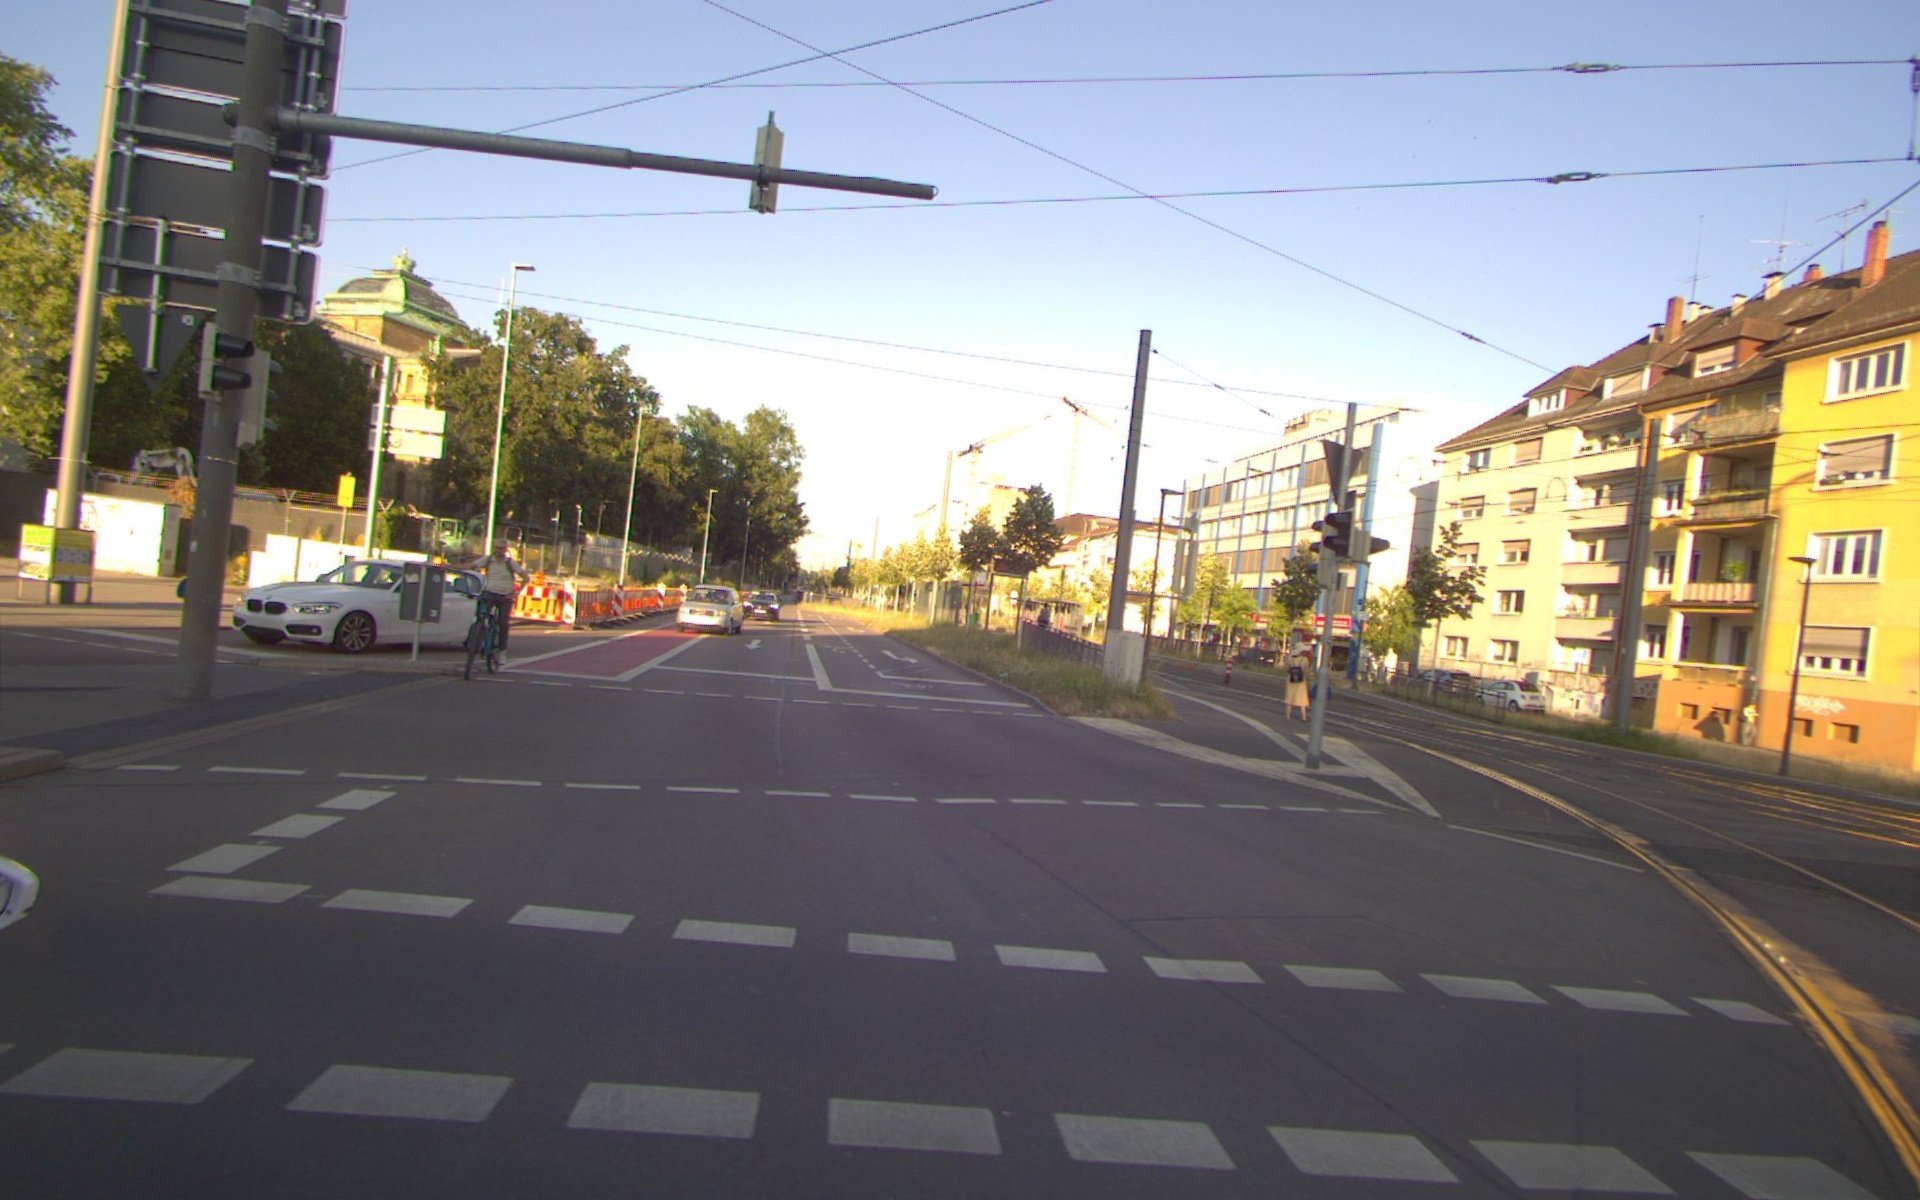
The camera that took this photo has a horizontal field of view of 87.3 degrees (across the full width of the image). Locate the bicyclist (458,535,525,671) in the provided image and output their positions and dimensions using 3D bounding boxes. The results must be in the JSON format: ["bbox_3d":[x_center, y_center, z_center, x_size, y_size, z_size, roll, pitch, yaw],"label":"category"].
[{"bbox_3d":[-6.180,0.036,13.300,0.587,1.692,0.745,6,0,-19],"label":"bicyclist"}]

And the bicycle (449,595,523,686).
[{"bbox_3d":[-6.198,0.499,13.218,0.588,1.035,1.840,6,0,-19],"label":"bicycle"}]

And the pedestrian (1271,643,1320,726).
[{"bbox_3d":[6.694,1.674,20.096,0.694,1.560,0.637,6,0,9],"label":"pedestrian"}]

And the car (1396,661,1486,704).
[{"bbox_3d":[25.851,4.410,54.243,2.084,1.726,4.341,6,-1,-11],"label":"car"}]

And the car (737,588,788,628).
[{"bbox_3d":[-9.529,0.374,48.793,1.910,1.637,4.388,6,-1,-6],"label":"car"}]

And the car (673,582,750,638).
[{"bbox_3d":[-7.933,0.353,32.413,1.650,1.580,3.726,4,-1,-4],"label":"car"}]

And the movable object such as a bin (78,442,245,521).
[{"bbox_3d":[-26.521,-3.927,33.410,4.932,2.039,1.999,6,0,21],"label":"movable object such as a bin"}]

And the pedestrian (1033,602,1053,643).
[{"bbox_3d":[3.406,0.920,41.263,0.556,1.610,0.689,6,1,-6],"label":"pedestrian"}]

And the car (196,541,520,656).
[{"bbox_3d":[-9.254,0.053,15.968,1.880,1.423,4.307,5,-1,13],"label":"car"}]

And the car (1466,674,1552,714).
[{"bbox_3d":[26.724,4.552,49.073,1.710,1.437,3.536,6,-1,-11],"label":"car"}]
